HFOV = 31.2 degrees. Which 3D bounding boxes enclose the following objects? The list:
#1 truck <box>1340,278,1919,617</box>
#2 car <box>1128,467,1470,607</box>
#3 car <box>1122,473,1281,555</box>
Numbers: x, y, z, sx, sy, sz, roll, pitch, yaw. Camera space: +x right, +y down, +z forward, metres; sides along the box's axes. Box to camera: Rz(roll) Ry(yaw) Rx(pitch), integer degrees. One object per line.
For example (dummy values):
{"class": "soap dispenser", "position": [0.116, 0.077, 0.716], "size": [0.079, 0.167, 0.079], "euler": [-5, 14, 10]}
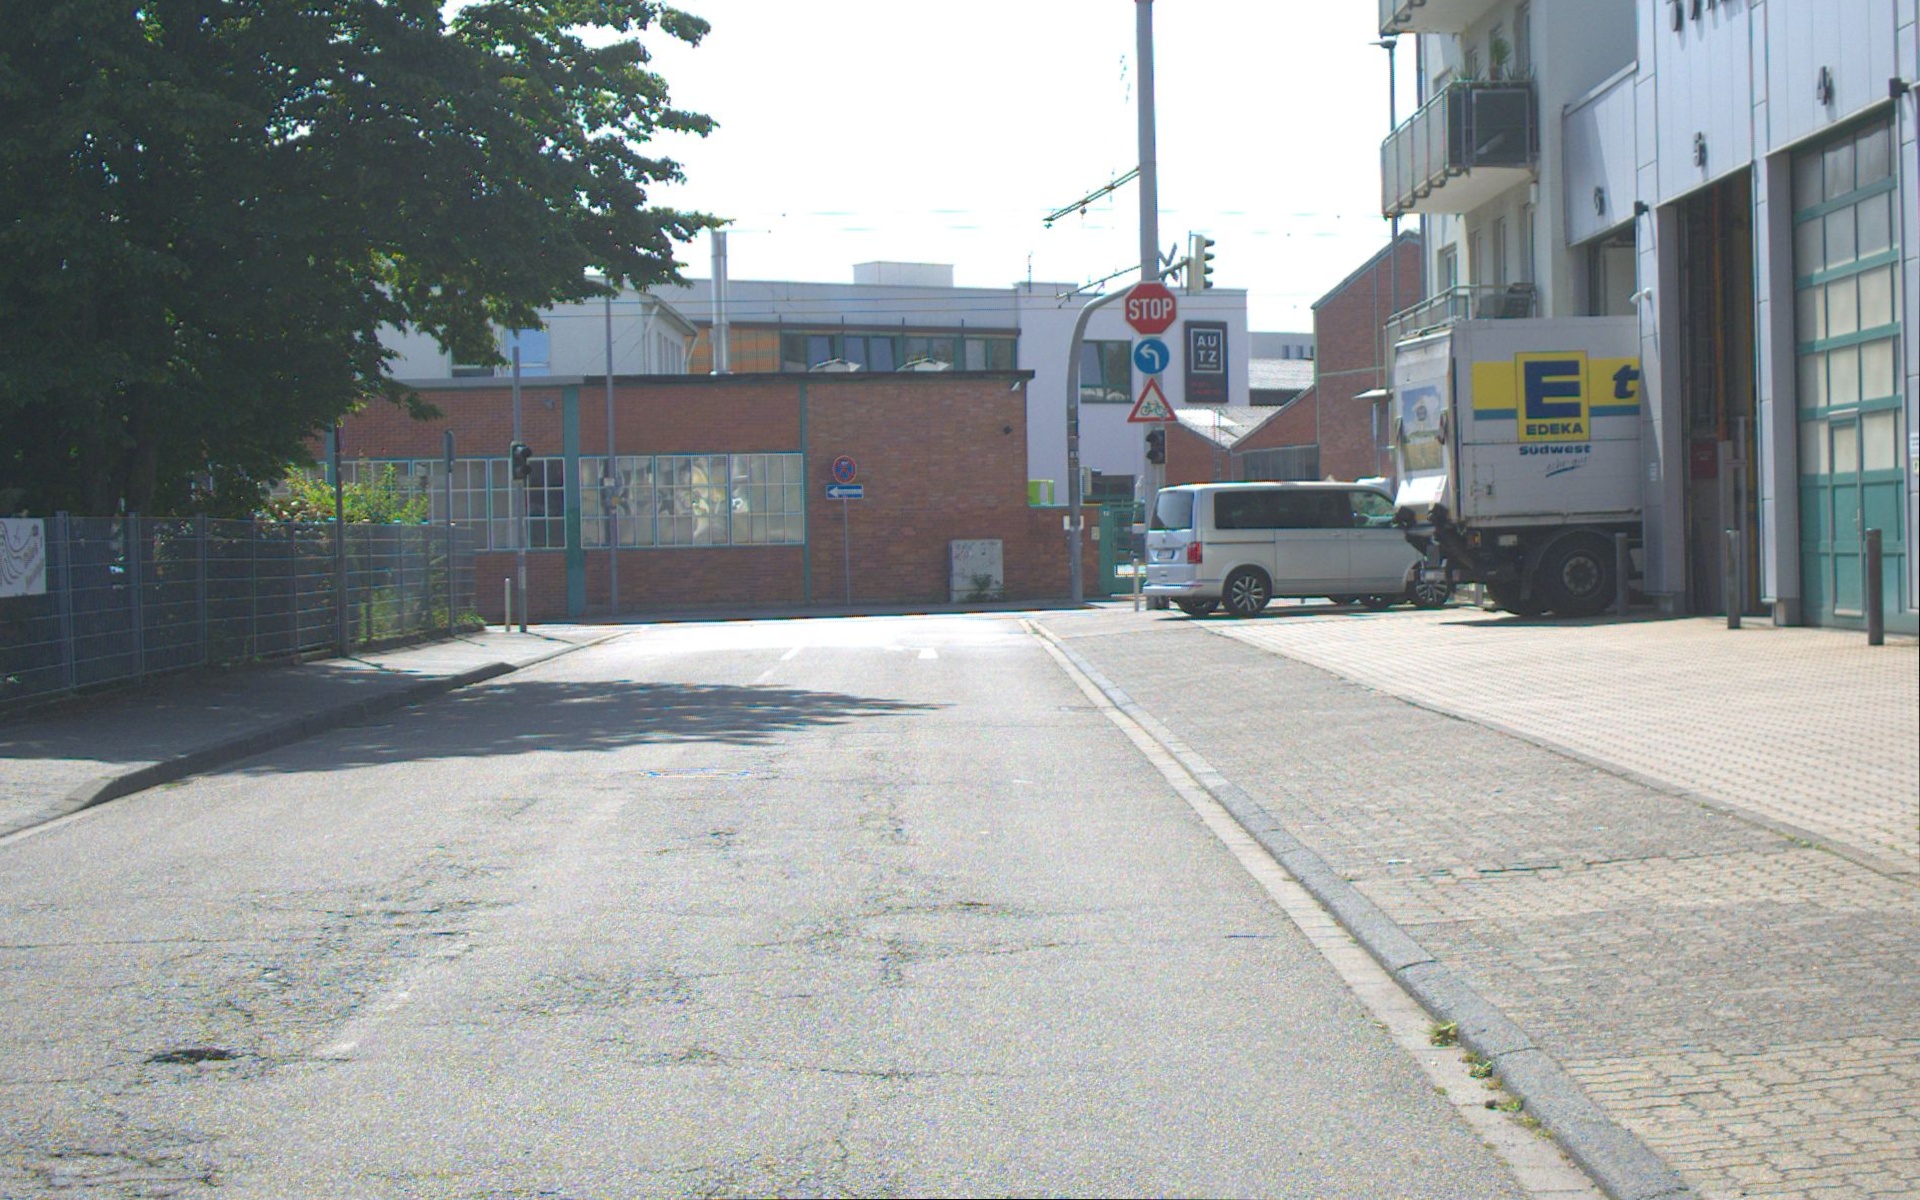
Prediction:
{"class": "truck", "position": [8.741, -1.905, 42.703], "size": [7.357, 3.633, 2.768], "euler": [-4, 1, -6]}
{"class": "car", "position": [5.030, -0.950, 51.110], "size": [4.653, 1.951, 1.917], "euler": [-2, 1, -19]}
{"class": "car", "position": [6.759, -2.404, 96.136], "size": [3.987, 2.182, 2.000], "euler": [-2, 1, -32]}
